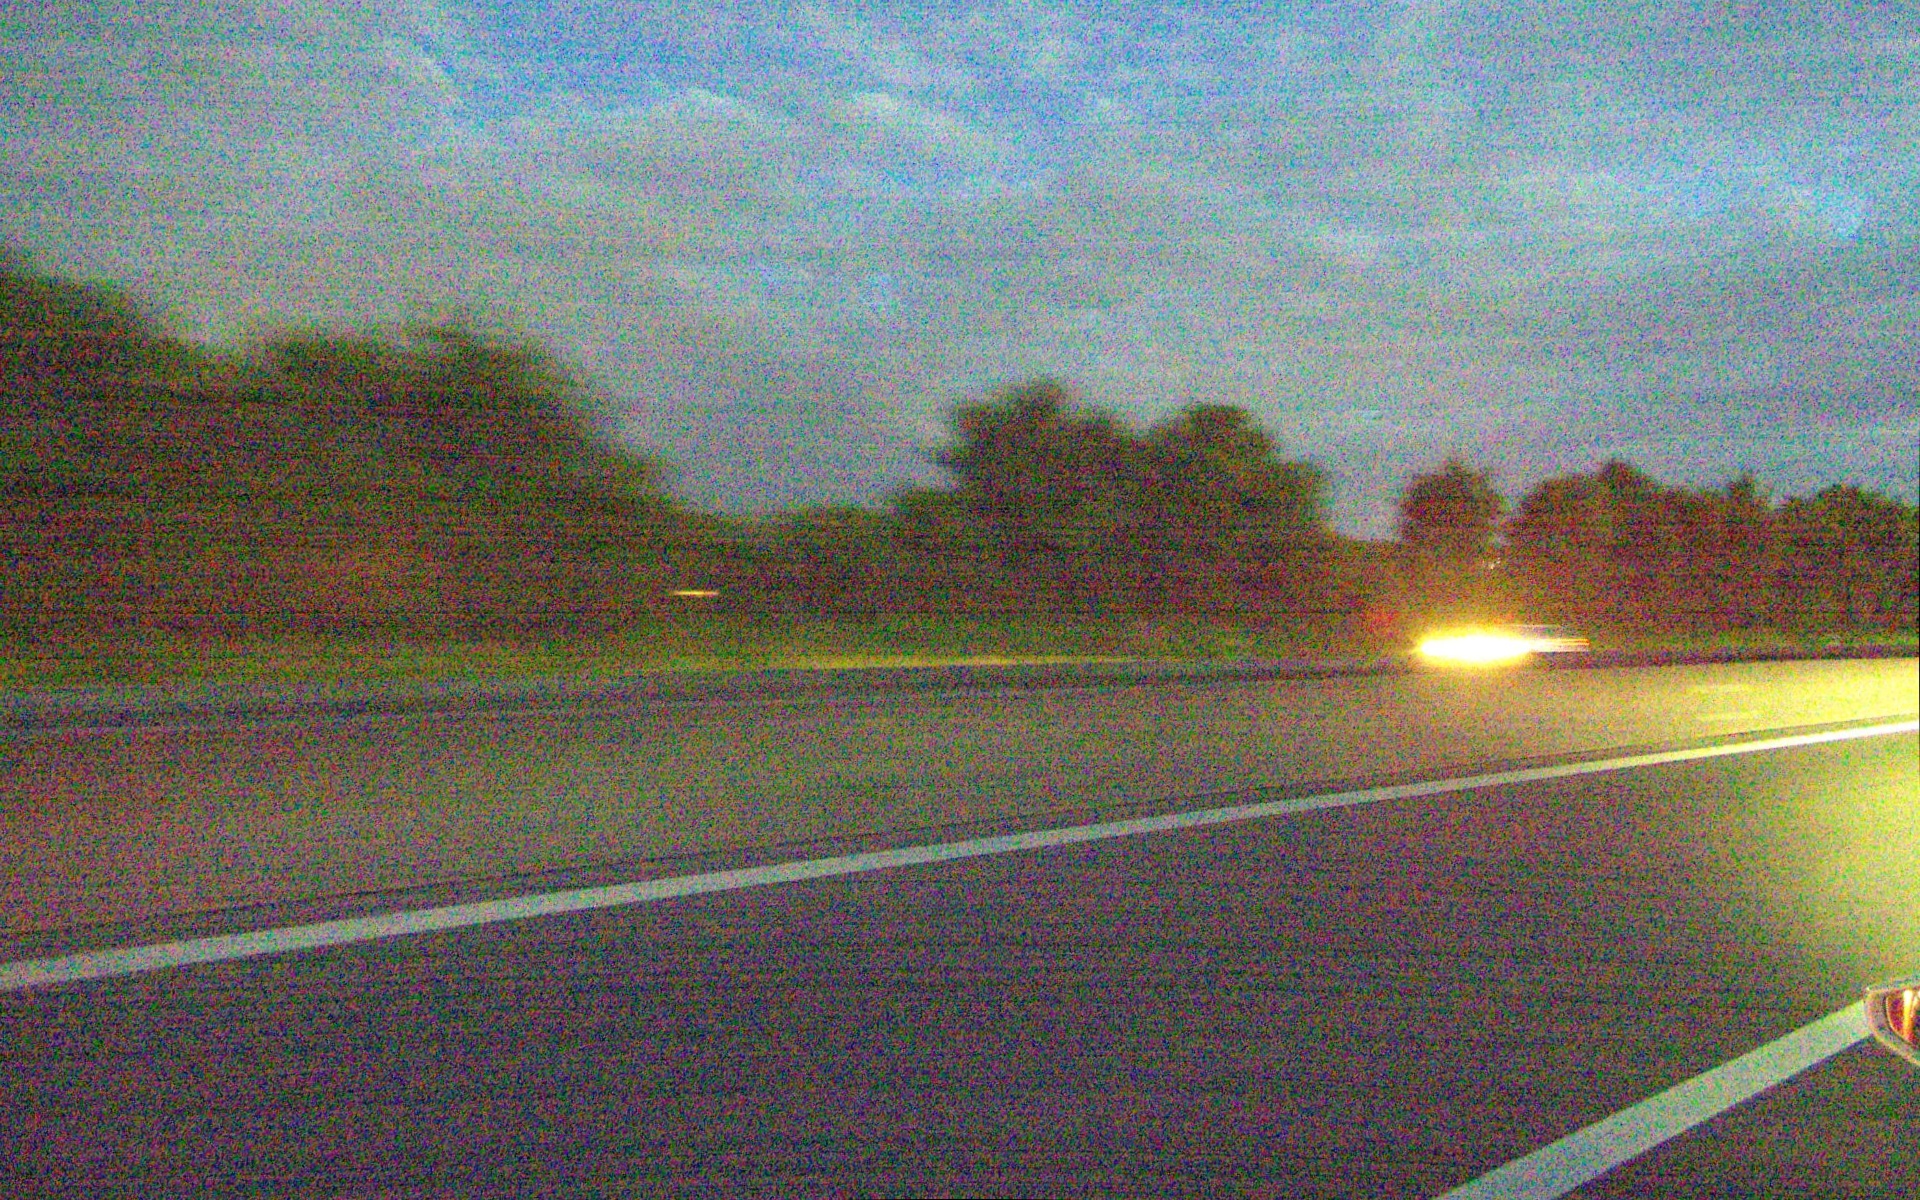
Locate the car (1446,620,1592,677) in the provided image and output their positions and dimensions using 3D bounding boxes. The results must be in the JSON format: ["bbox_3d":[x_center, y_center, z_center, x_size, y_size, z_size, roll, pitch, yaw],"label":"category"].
[{"bbox_3d":[18.543,1.609,33.268,4.987,1.656,1.894,2,1,-30],"label":"car"}]
